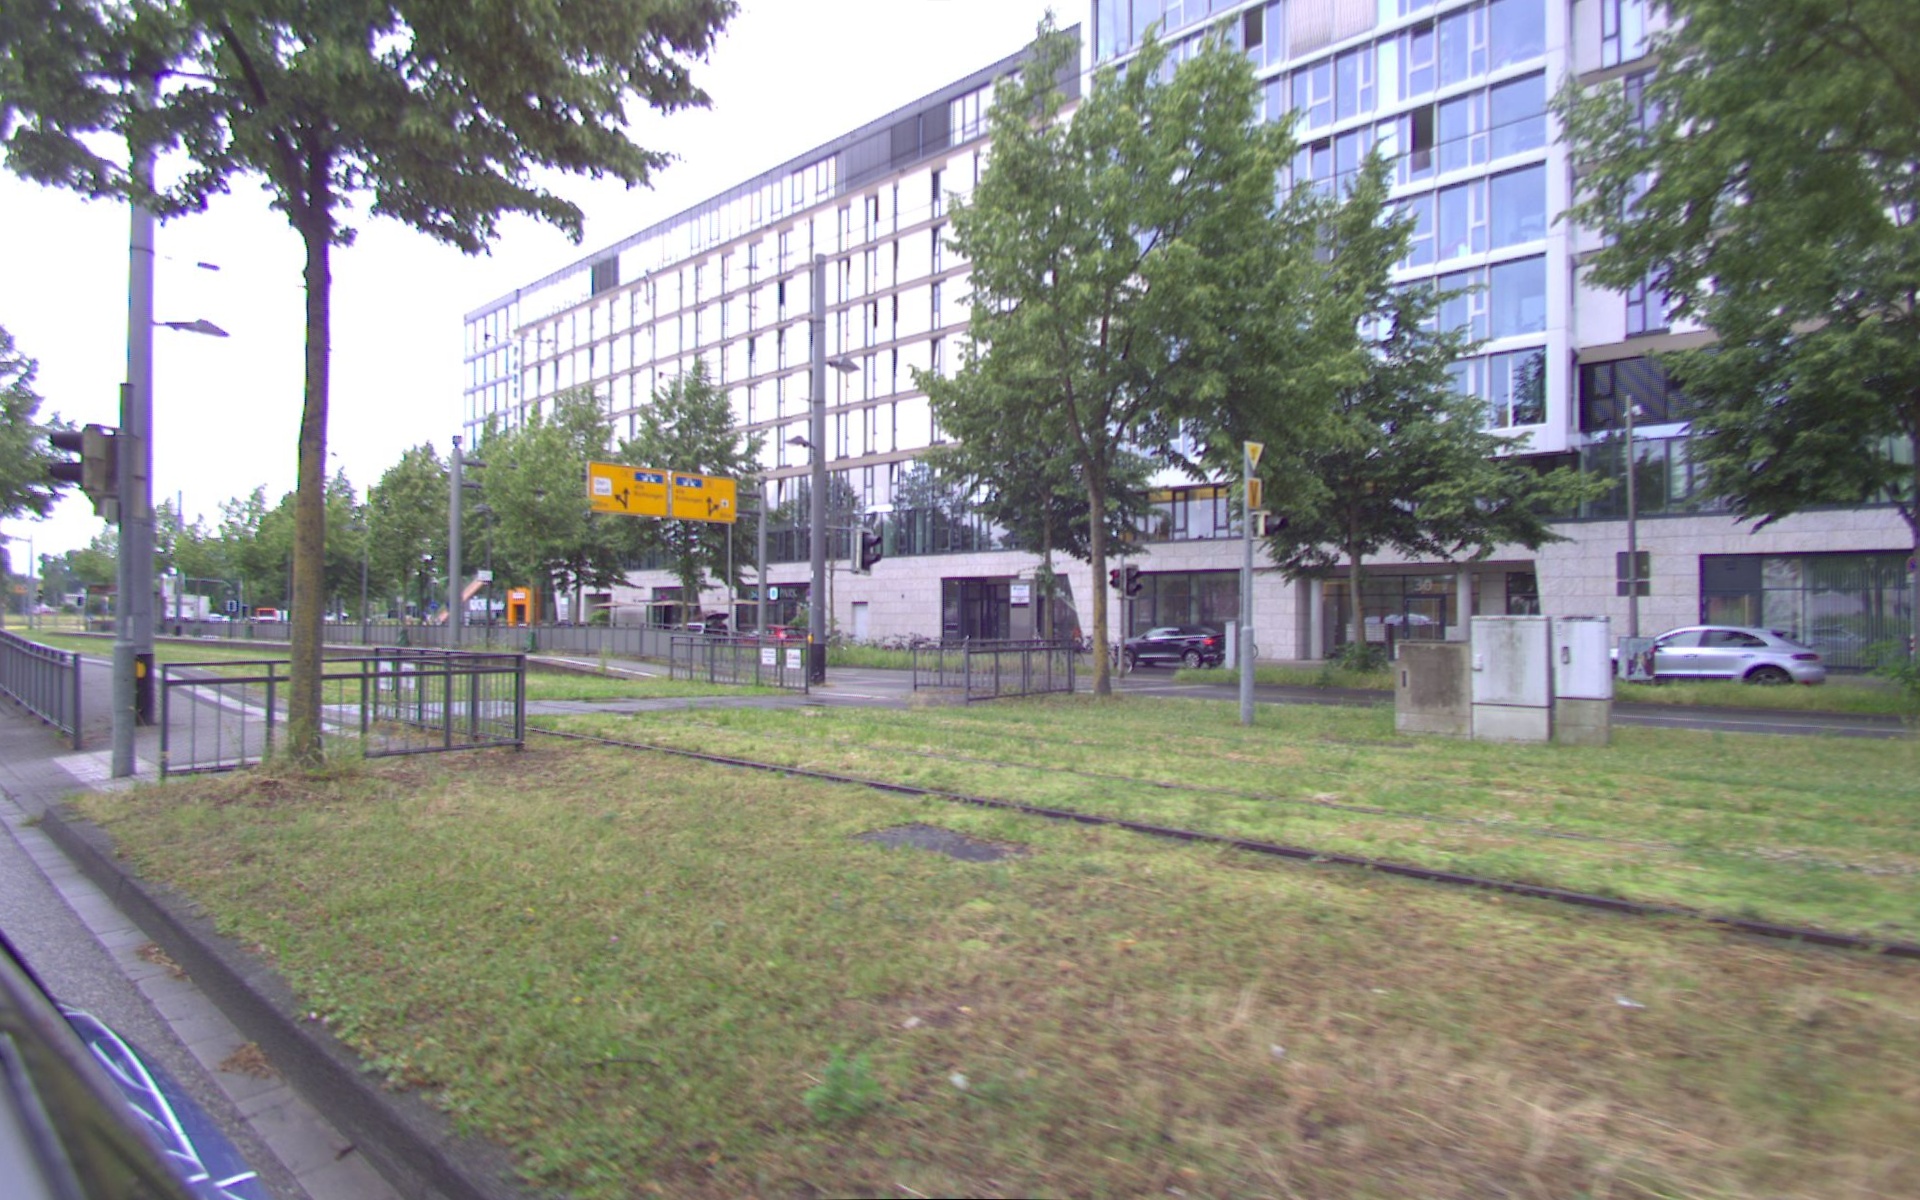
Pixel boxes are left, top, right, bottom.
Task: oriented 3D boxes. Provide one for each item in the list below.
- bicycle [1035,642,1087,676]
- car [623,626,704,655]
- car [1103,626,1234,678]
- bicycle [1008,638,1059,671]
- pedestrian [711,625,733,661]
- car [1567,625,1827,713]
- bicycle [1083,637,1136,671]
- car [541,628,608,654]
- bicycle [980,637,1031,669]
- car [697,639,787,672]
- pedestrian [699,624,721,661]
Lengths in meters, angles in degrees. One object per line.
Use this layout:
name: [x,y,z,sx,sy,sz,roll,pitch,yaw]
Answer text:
bicycle: [3.352,1.936,33.557,0.696,1.042,1.957,-1,-2,43]
car: [-14.341,1.926,48.800,4.070,1.298,1.971,-1,-1,43]
car: [7.416,1.810,36.245,4.190,1.706,1.973,-1,-2,41]
bicycle: [2.527,1.854,34.745,0.696,1.042,1.957,0,-1,43]
pedestrian: [-11.297,2.030,47.952,0.793,1.704,0.703,-2,-2,44]
car: [16.192,1.425,22.366,4.462,1.725,2.122,-1,-2,41]
bicycle: [4.795,1.706,32.293,0.696,1.042,1.957,-1,-2,43]
car: [-21.658,2.273,56.838,3.859,1.298,1.972,0,-1,42]
bicycle: [1.614,1.847,35.701,0.696,1.042,1.957,-1,-2,43]
car: [-9.500,2.386,43.985,3.860,1.298,1.971,-1,-2,43]
pedestrian: [-11.682,1.980,47.261,0.793,1.704,0.703,-2,-2,44]
